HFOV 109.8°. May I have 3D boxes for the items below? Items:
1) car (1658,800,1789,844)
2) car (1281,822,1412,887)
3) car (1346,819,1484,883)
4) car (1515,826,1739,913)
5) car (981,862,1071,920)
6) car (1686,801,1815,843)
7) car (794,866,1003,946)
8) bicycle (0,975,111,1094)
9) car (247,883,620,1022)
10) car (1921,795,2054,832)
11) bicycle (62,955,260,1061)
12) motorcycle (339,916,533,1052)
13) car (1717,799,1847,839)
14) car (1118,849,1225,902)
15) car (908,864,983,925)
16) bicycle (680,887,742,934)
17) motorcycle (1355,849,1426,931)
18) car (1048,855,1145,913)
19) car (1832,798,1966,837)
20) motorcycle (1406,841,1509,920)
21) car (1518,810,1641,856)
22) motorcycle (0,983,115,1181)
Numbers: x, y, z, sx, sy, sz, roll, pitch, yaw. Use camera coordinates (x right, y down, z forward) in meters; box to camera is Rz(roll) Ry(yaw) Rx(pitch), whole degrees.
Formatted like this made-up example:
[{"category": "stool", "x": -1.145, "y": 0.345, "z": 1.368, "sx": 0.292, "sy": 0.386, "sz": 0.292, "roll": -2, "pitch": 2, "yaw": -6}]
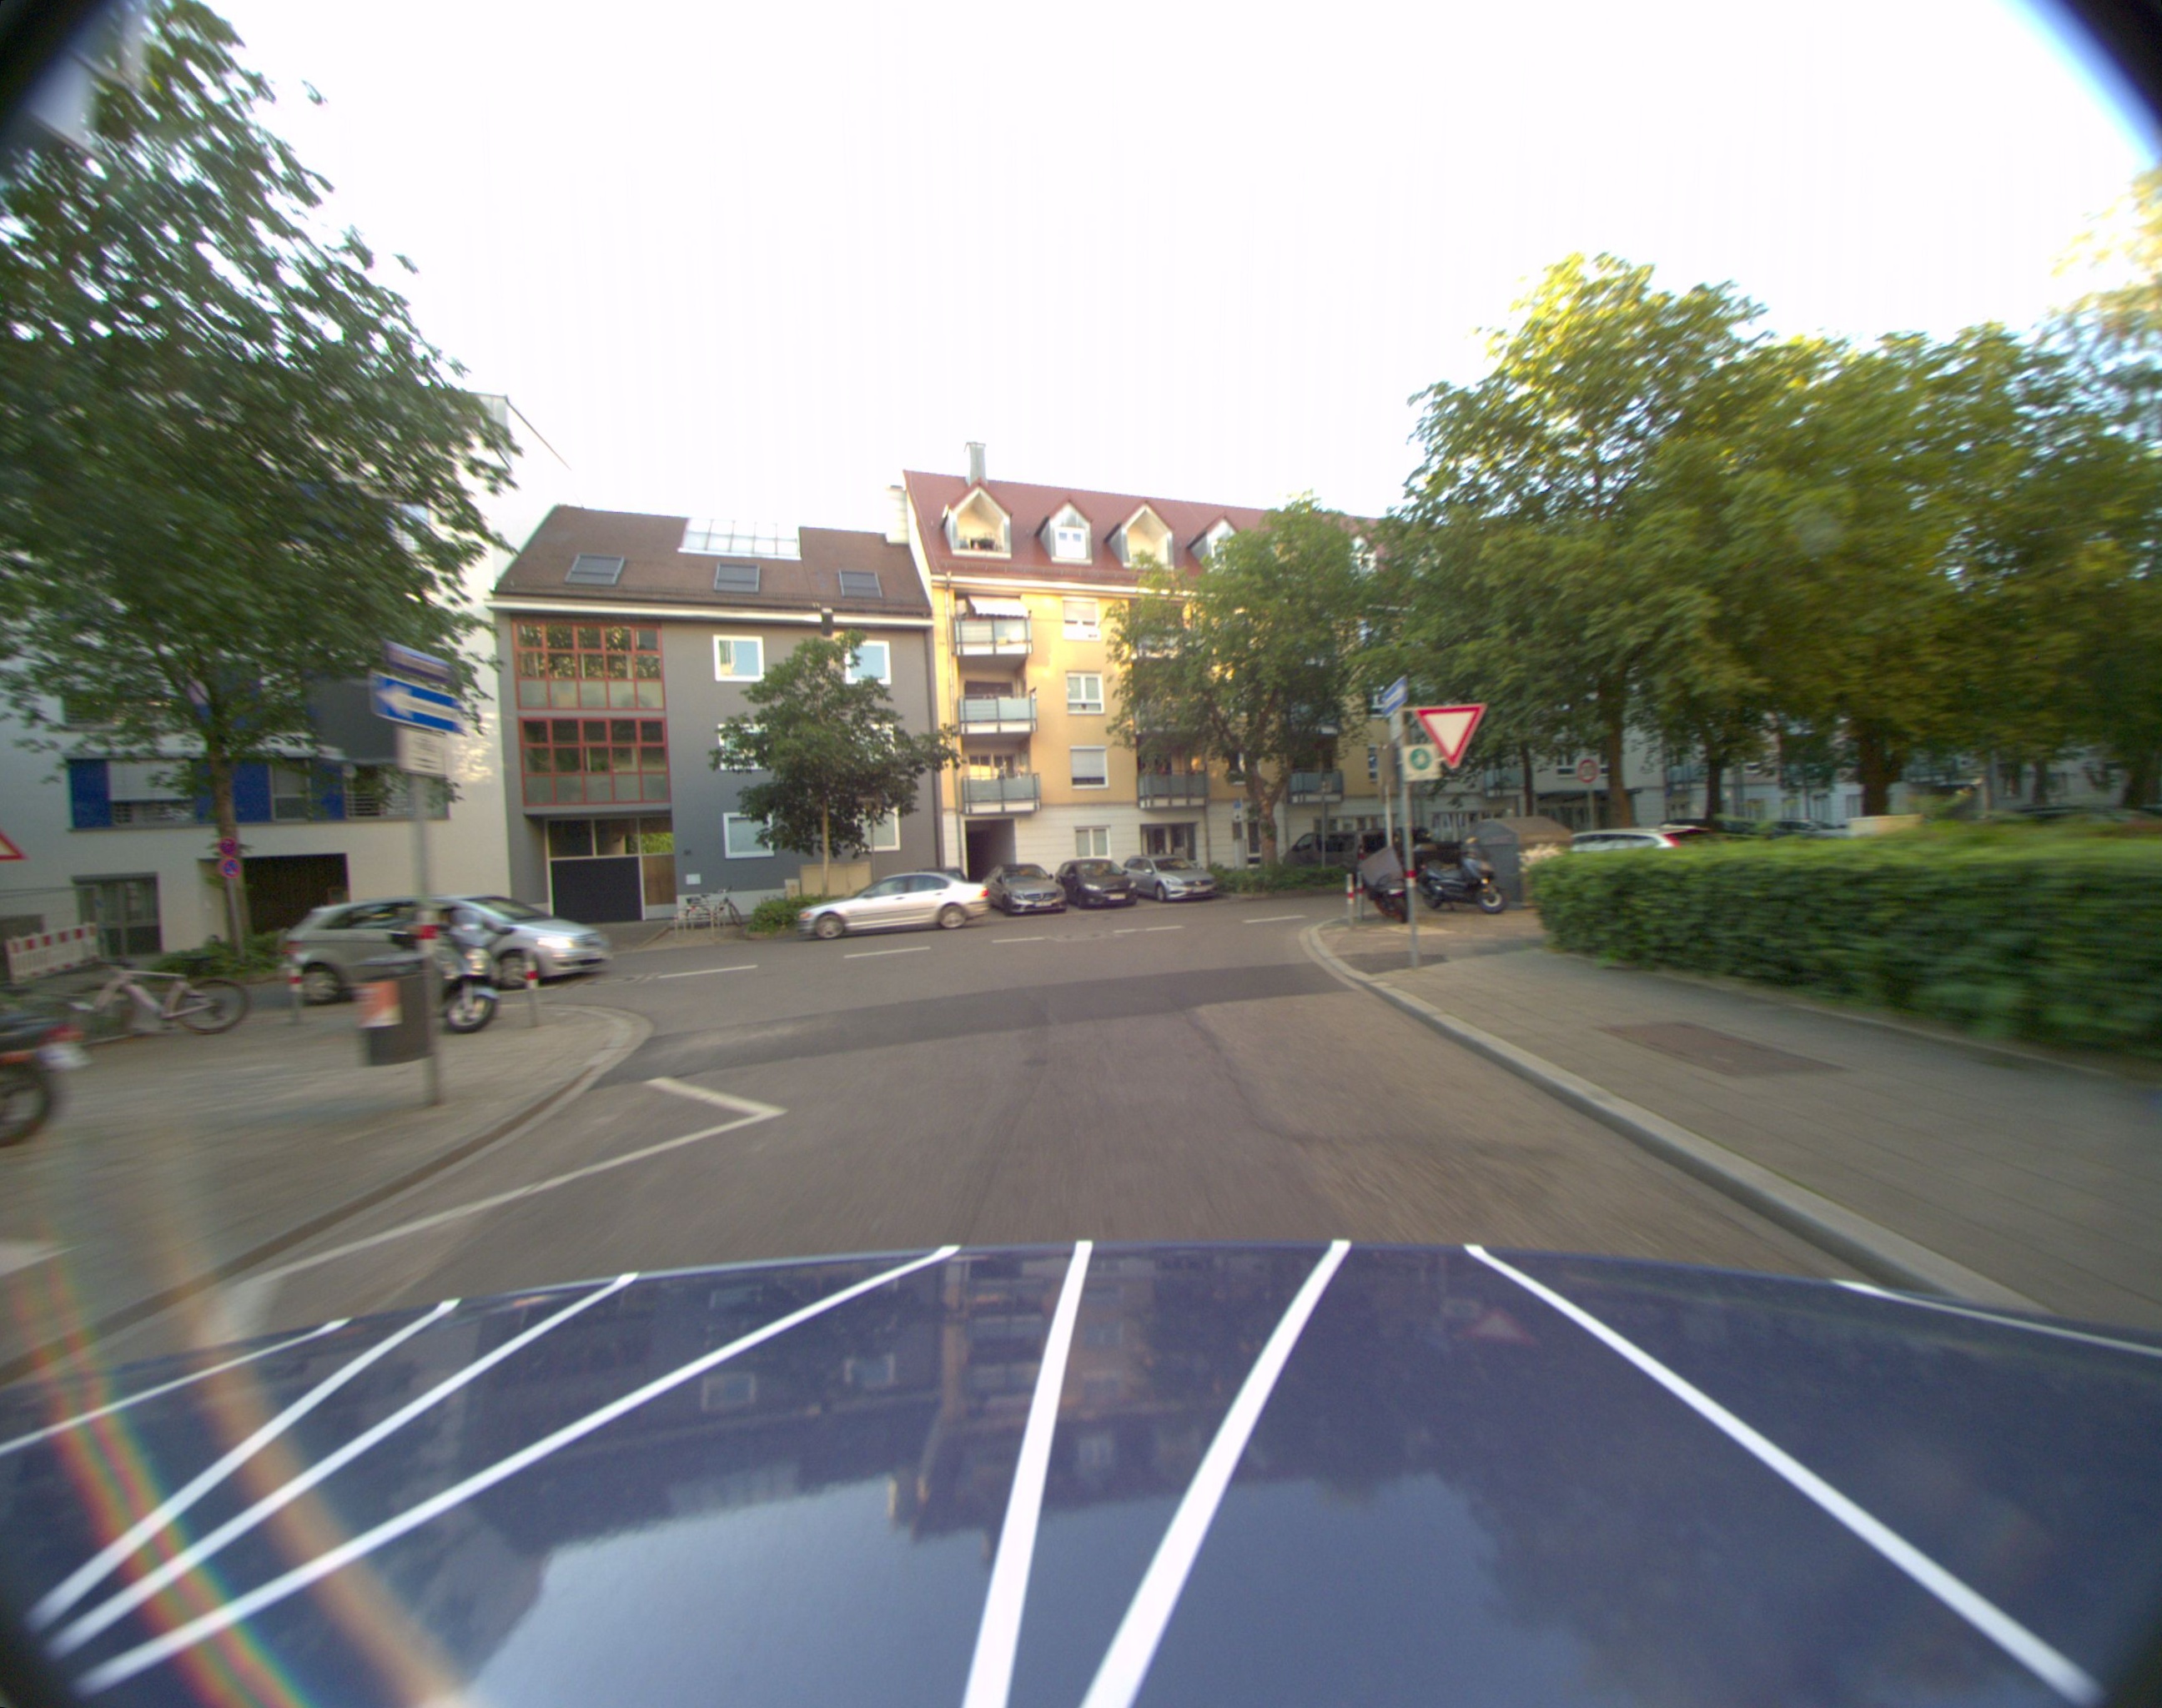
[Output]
[{"category": "car", "x": 28.380, "y": -1.388, "z": 33.743, "sx": 2.001, "sy": 1.718, "sz": 3.993, "roll": -4, "pitch": 2, "yaw": -17}, {"category": "car", "x": 9.372, "y": -0.058, "z": 27.190, "sx": 2.230, "sy": 2.065, "sz": 4.321, "roll": -3, "pitch": 3, "yaw": -18}, {"category": "car", "x": 11.964, "y": -0.162, "z": 27.561, "sx": 2.230, "sy": 2.065, "sz": 4.321, "roll": -3, "pitch": 3, "yaw": -18}, {"category": "car", "x": 10.997, "y": 0.278, "z": 15.622, "sx": 1.634, "sy": 1.498, "sz": 3.496, "roll": -4, "pitch": 1, "yaw": -13}, {"category": "car", "x": -1.803, "y": 1.073, "z": 23.614, "sx": 1.748, "sy": 1.395, "sz": 4.238, "roll": -2, "pitch": 2, "yaw": -18}, {"category": "car", "x": 30.503, "y": -1.437, "z": 34.780, "sx": 2.001, "sy": 1.718, "sz": 3.993, "roll": -4, "pitch": 2, "yaw": -17}, {"category": "car", "x": -4.330, "y": 1.193, "z": 18.109, "sx": 4.541, "sy": 1.440, "sz": 1.888, "roll": -4, "pitch": -2, "yaw": -18}, {"category": "bicycle", "x": -10.695, "y": 1.802, "z": 7.392, "sx": 1.533, "sy": 1.035, "sz": 0.375, "roll": -4, "pitch": 1, "yaw": -20}, {"category": "car", "x": -10.394, "y": 1.524, "z": 12.540, "sx": 4.271, "sy": 1.608, "sz": 1.804, "roll": -5, "pitch": 2, "yaw": -6}, {"category": "car", "x": 47.002, "y": -2.057, "z": 39.509, "sx": 2.001, "sy": 1.718, "sz": 3.993, "roll": -4, "pitch": 2, "yaw": -17}, {"category": "bicycle", "x": -11.342, "y": 1.874, "z": 9.417, "sx": 1.533, "sy": 1.059, "sz": 0.375, "roll": -4, "pitch": 1, "yaw": -20}, {"category": "motorcycle", "x": -7.582, "y": 1.476, "z": 8.922, "sx": 2.203, "sy": 1.387, "sz": 0.802, "roll": -3, "pitch": 0, "yaw": 24}, {"category": "car", "x": 32.766, "y": -1.598, "z": 35.659, "sx": 2.001, "sy": 1.718, "sz": 3.993, "roll": -4, "pitch": 2, "yaw": -17}, {"category": "car", "x": 2.883, "y": 0.636, "z": 25.265, "sx": 1.829, "sy": 1.460, "sz": 4.321, "roll": -2, "pitch": 3, "yaw": -18}, {"category": "car", "x": -4.158, "y": 1.125, "z": 22.838, "sx": 1.634, "sy": 1.443, "sz": 3.850, "roll": -3, "pitch": 3, "yaw": -18}, {"category": "bicycle", "x": -10.728, "y": 1.613, "z": 22.083, "sx": 1.460, "sy": 1.202, "sz": 0.611, "roll": -4, "pitch": 2, "yaw": -18}, {"category": "motorcycle", "x": 5.639, "y": 0.616, "z": 13.954, "sx": 0.858, "sy": 1.345, "sz": 1.960, "roll": -3, "pitch": 1, "yaw": 13}, {"category": "car", "x": 0.391, "y": 0.889, "z": 24.465, "sx": 1.748, "sy": 1.494, "sz": 4.238, "roll": -2, "pitch": 3, "yaw": -18}, {"category": "car", "x": 39.876, "y": -1.757, "z": 37.171, "sx": 2.001, "sy": 1.718, "sz": 3.993, "roll": -4, "pitch": 2, "yaw": -17}, {"category": "motorcycle", "x": 7.216, "y": 0.487, "z": 14.681, "sx": 0.572, "sy": 1.398, "sz": 1.968, "roll": -3, "pitch": 1, "yaw": -15}, {"category": "car", "x": 21.016, "y": -0.886, "z": 32.218, "sx": 2.001, "sy": 1.718, "sz": 3.993, "roll": -4, "pitch": 2, "yaw": -17}, {"category": "motorcycle", "x": -7.657, "y": 1.512, "z": 4.508, "sx": 2.254, "sy": 1.117, "sz": 0.640, "roll": -4, "pitch": 1, "yaw": -28}]
